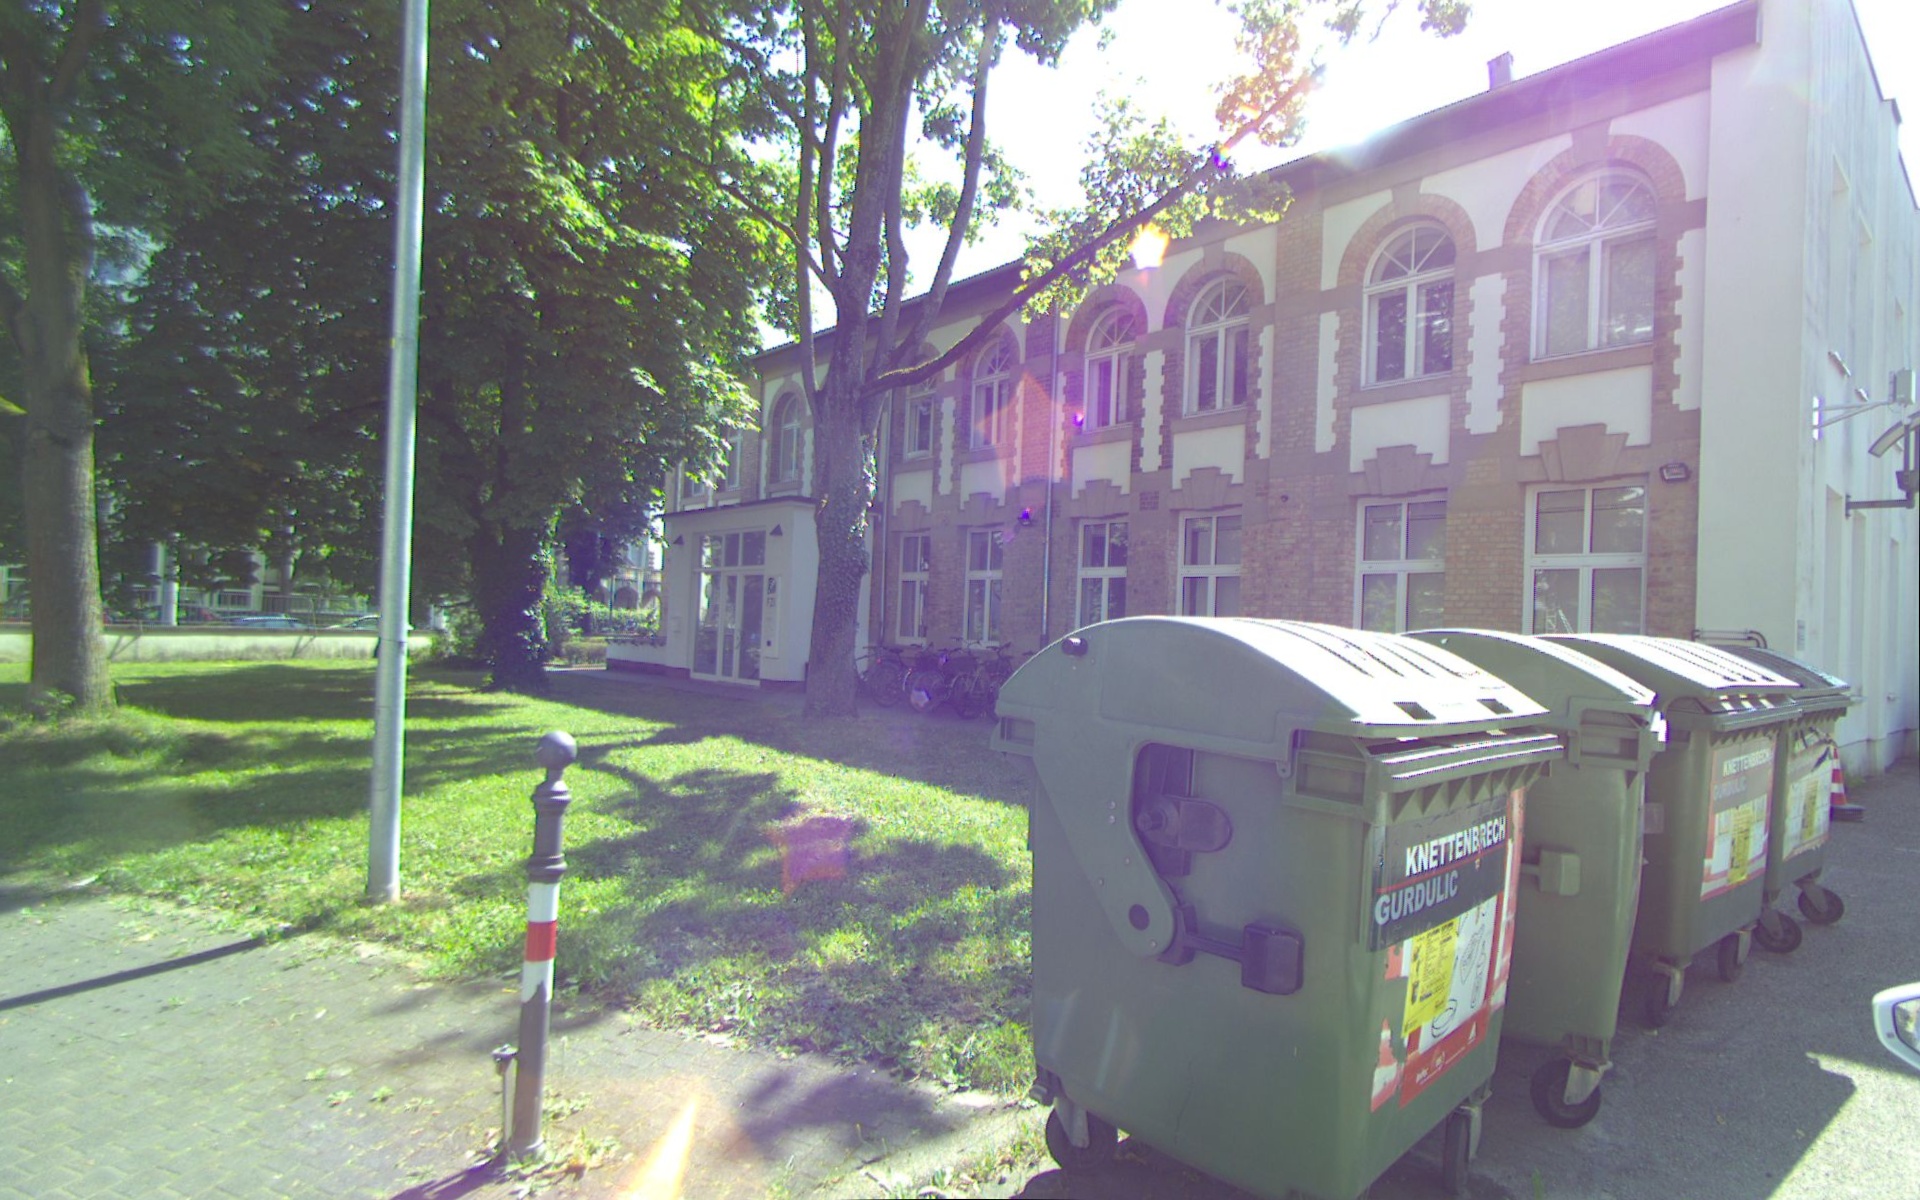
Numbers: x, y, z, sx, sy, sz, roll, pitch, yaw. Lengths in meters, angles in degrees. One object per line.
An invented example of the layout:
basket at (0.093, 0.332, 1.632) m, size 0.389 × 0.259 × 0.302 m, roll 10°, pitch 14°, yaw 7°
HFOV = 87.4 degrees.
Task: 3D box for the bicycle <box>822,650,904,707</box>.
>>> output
bicycle at (-1.789, 1.471, 18.741) m, size 1.531 × 1.005 × 0.440 m, roll 5°, pitch -2°, yaw -44°

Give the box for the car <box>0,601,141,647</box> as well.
car at (-32.462, 0.890, 36.231) m, size 4.164 × 1.559 × 1.771 m, roll 2°, pitch -2°, yaw -26°

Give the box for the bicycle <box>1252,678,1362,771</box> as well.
bicycle at (4.167, 1.453, 11.994) m, size 1.652 × 1.005 × 0.441 m, roll 3°, pitch -2°, yaw -40°

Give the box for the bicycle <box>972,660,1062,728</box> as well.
bicycle at (0.903, 1.446, 15.725) m, size 1.529 × 1.005 × 0.440 m, roll 3°, pitch -3°, yaw -41°

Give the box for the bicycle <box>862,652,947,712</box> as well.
bicycle at (-0.970, 1.424, 17.725) m, size 1.528 × 1.005 × 0.441 m, roll 3°, pitch -2°, yaw -40°

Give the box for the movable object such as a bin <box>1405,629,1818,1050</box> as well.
movable object such as a bin at (2.899, 0.890, 4.462) m, size 1.356 × 1.450 × 1.233 m, roll 4°, pitch -2°, yaw -42°

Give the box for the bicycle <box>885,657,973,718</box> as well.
bicycle at (-0.515, 1.498, 17.299) m, size 1.587 × 1.002 × 0.370 m, roll 3°, pitch -2°, yaw -40°

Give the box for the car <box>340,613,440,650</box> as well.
car at (-27.725, 1.542, 49.007) m, size 3.942 × 1.683 × 1.820 m, roll 3°, pitch -2°, yaw -22°

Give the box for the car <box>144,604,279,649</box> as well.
car at (-29.648, 1.070, 39.934) m, size 3.947 × 1.661 × 1.792 m, roll 2°, pitch -2°, yaw -26°

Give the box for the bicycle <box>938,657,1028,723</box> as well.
bicycle at (0.389, 1.428, 16.160) m, size 1.528 × 1.005 × 0.441 m, roll 3°, pitch -2°, yaw -40°

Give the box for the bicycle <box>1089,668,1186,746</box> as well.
bicycle at (2.487, 1.466, 13.980) m, size 1.528 × 1.005 × 0.441 m, roll 3°, pitch -2°, yaw -40°

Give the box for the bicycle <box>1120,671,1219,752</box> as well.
bicycle at (2.847, 1.482, 13.567) m, size 1.528 × 1.005 × 0.441 m, roll 3°, pitch -2°, yaw -40°

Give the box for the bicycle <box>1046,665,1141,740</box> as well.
bicycle at (1.939, 1.456, 14.482) m, size 1.528 × 1.005 × 0.441 m, roll 3°, pitch -2°, yaw -40°

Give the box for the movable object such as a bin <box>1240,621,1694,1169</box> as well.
movable object such as a bin at (1.839, 0.833, 3.585) m, size 1.228 × 1.450 × 1.219 m, roll 1°, pitch -2°, yaw 37°

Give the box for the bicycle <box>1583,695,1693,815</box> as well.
bicycle at (6.487, 1.435, 9.582) m, size 1.617 × 1.005 × 0.441 m, roll 3°, pitch -2°, yaw -40°

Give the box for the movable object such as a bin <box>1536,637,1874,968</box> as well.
movable object such as a bin at (4.036, 0.961, 5.439) m, size 1.340 × 1.450 × 1.233 m, roll 4°, pitch -2°, yaw -42°

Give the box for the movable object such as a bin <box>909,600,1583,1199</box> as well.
movable object such as a bin at (0.789, 0.786, 2.663) m, size 1.231 × 1.501 × 1.332 m, roll 0°, pitch -2°, yaw 43°

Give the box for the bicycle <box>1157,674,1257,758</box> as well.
bicycle at (3.238, 1.490, 13.119) m, size 1.528 × 1.005 × 0.441 m, roll 3°, pitch -2°, yaw -40°

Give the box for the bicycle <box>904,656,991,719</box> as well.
bicycle at (-0.198, 1.459, 16.943) m, size 1.528 × 1.005 × 0.441 m, roll 3°, pitch -2°, yaw -40°

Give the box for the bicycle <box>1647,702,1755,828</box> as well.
bicycle at (6.842, 1.478, 9.254) m, size 1.528 × 1.005 × 0.441 m, roll 3°, pitch -2°, yaw -40°
